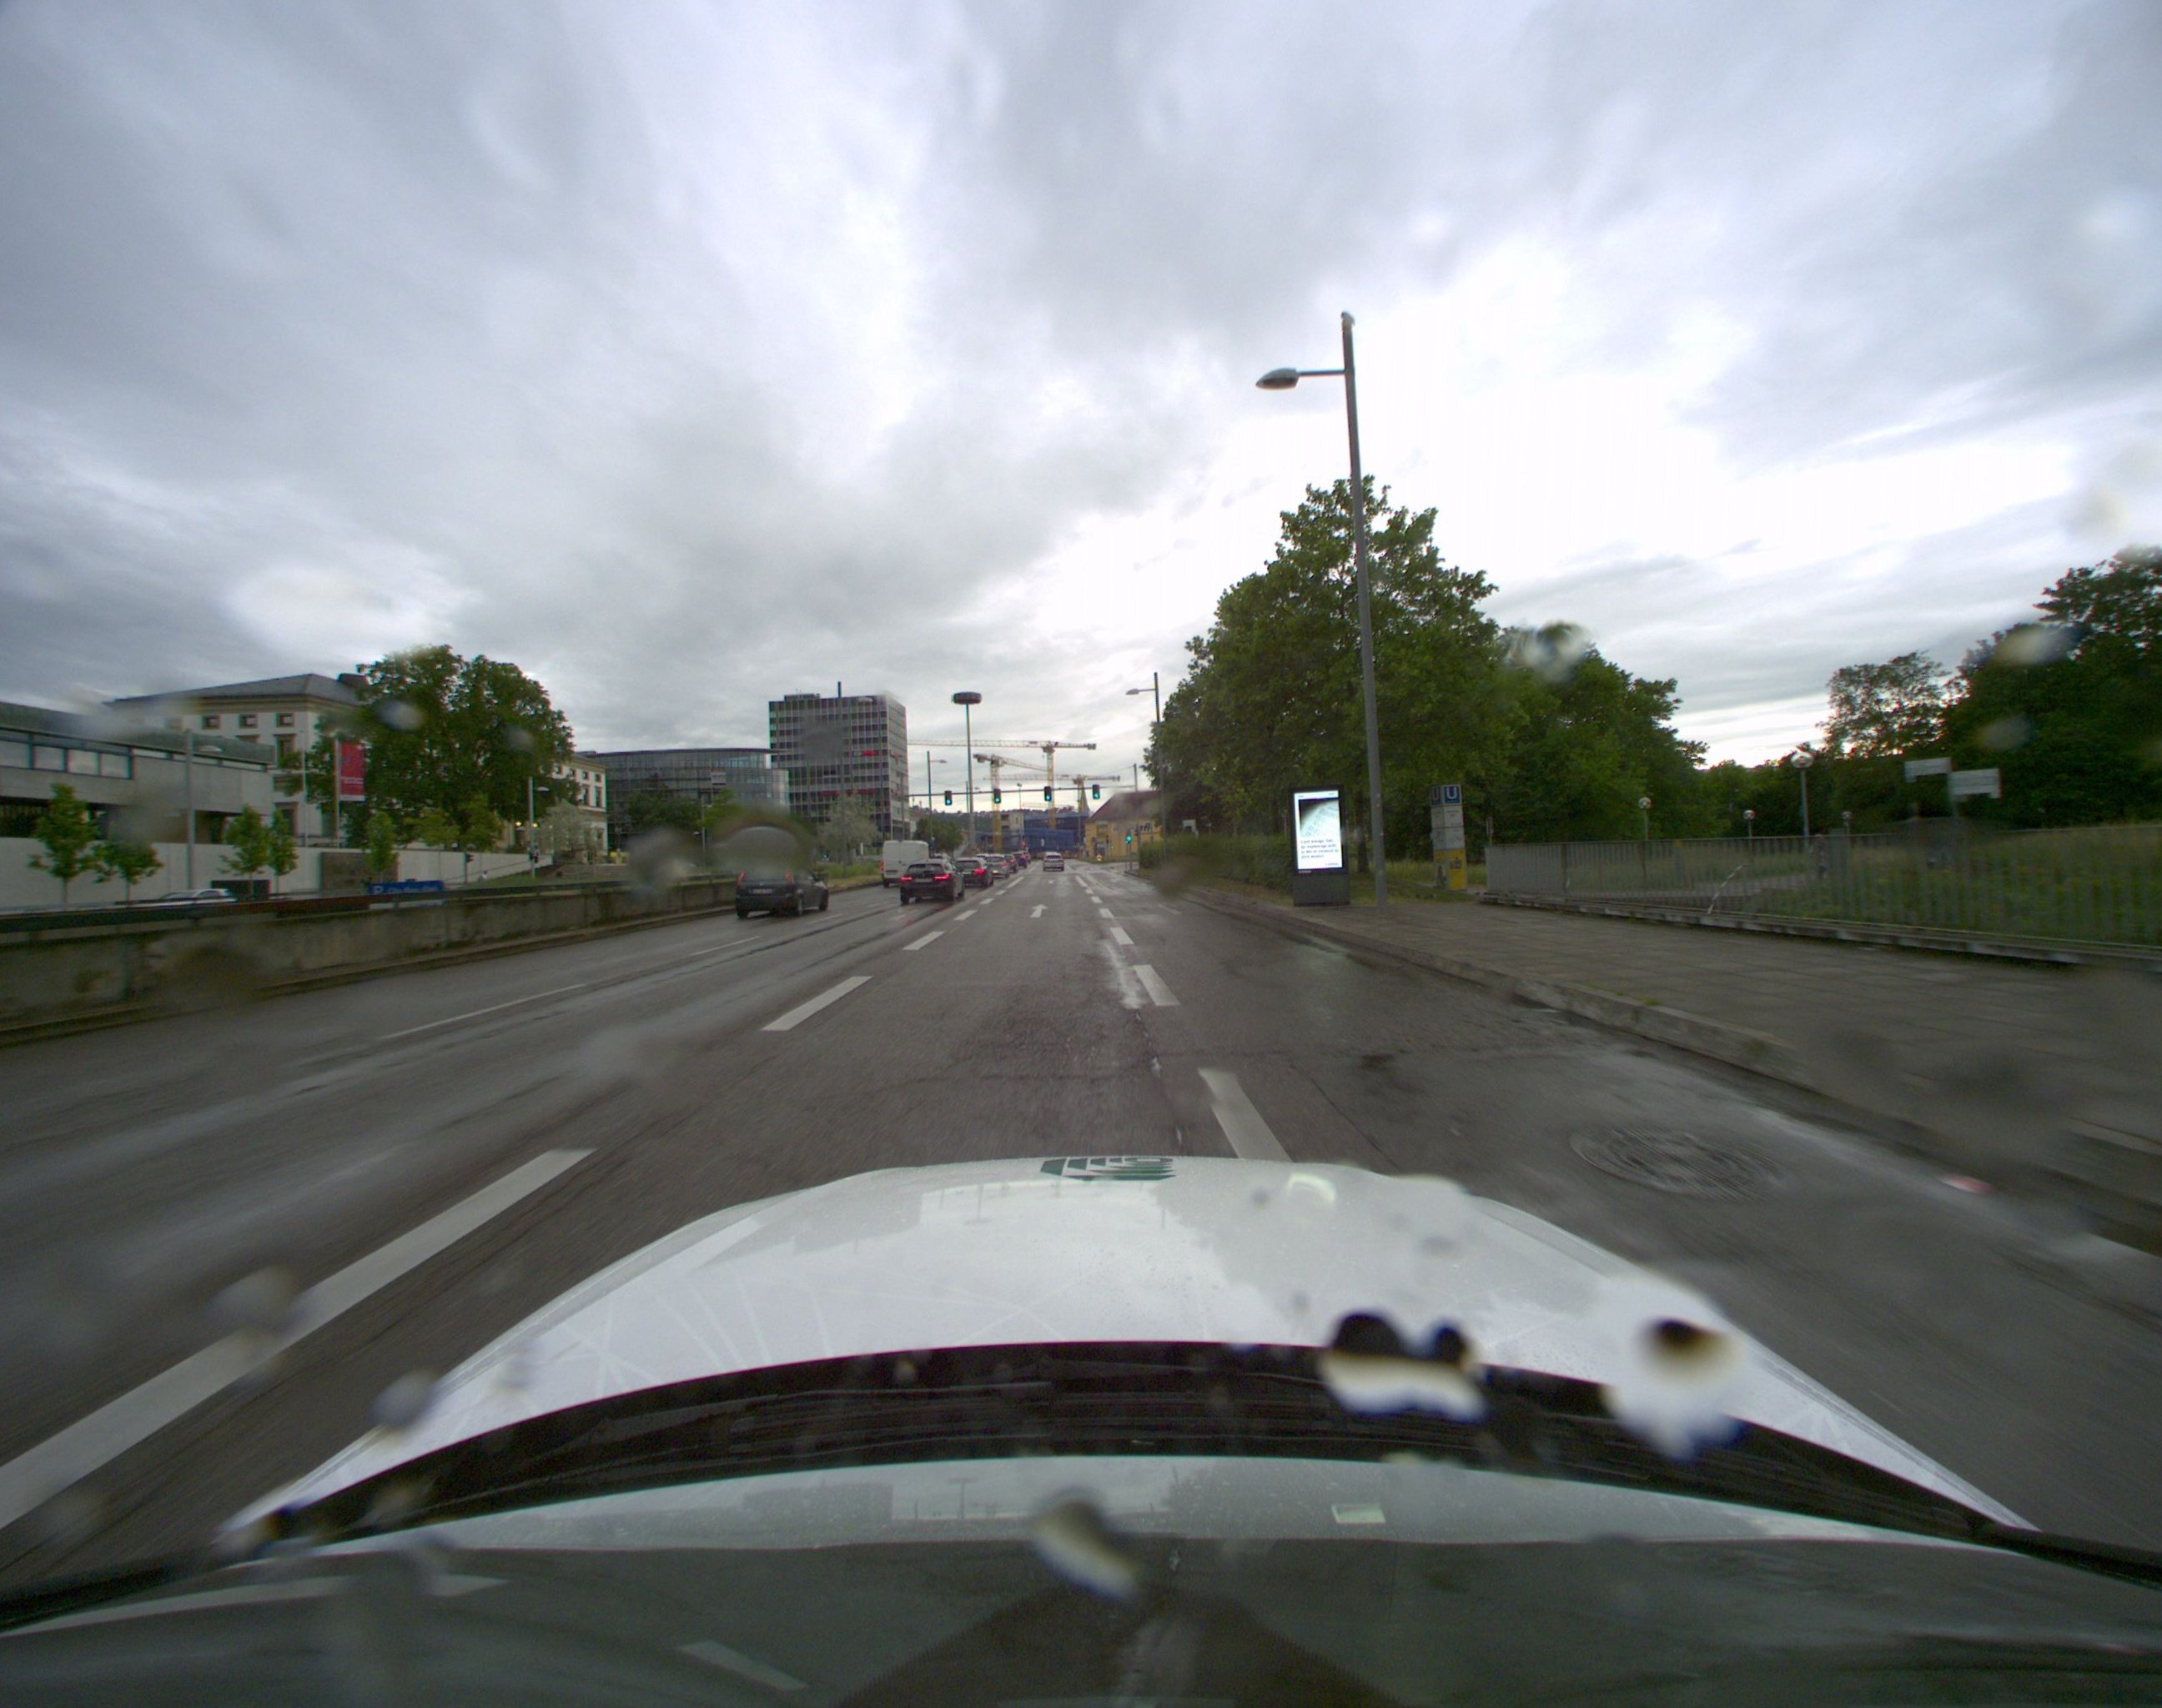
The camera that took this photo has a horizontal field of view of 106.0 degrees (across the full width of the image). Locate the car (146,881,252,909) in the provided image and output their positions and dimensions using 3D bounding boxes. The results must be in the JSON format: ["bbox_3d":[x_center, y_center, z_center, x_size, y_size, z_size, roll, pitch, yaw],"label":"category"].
[{"bbox_3d":[-39.209,1.807,36.292,1.436,1.114,3.018,-1,-1,-2],"label":"car"}]

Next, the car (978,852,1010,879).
[{"bbox_3d":[-5.552,0.751,52.236,1.877,1.653,3.452,-1,-1,-4],"label":"car"}]

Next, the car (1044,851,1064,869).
[{"bbox_3d":[-2.184,0.503,67.215,1.439,1.359,2.413,-1,-1,2],"label":"car"}]

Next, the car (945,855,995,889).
[{"bbox_3d":[-5.287,0.872,39.125,1.823,1.495,3.399,-1,-1,1],"label":"car"}]

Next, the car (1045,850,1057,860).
[{"bbox_3d":[-3.131,0.122,84.627,1.072,0.990,1.972,-1,-2,2],"label":"car"}]

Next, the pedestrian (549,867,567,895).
[{"bbox_3d":[-40.053,2.061,62.376,0.764,2.090,0.727,-1,4,3],"label":"pedestrian"}]

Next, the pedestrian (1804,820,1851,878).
[{"bbox_3d":[21.860,-0.135,23.854,0.730,1.642,0.822,0,-2,-36],"label":"pedestrian"}]

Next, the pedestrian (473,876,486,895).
[{"bbox_3d":[-45.854,2.365,62.081,0.488,1.423,0.635,-2,-2,16],"label":"pedestrian"}]

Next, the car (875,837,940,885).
[{"bbox_3d":[-8.949,0.382,42.499,2.285,2.314,5.003,-1,-1,-1],"label":"car"}]

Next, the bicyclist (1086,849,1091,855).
[{"bbox_3d":[1.573,-0.401,169.477,0.705,1.275,0.631,-1,-2,-17],"label":"bicyclist"}]

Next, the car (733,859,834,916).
[{"bbox_3d":[-8.250,0.904,22.912,1.538,1.415,3.897,-1,-1,-3],"label":"car"}]

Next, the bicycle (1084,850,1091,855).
[{"bbox_3d":[1.420,-0.253,169.702,0.882,1.010,1.981,-1,-1,-17],"label":"bicycle"}]

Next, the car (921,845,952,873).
[{"bbox_3d":[-9.078,0.326,51.327,1.461,1.706,3.137,-1,-1,-3],"label":"car"}]

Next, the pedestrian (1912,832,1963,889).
[{"bbox_3d":[25.963,0.204,24.692,0.766,1.692,0.651,-2,-2,9],"label":"pedestrian"}]

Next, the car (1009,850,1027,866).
[{"bbox_3d":[-6.035,0.393,78.030,1.489,1.369,3.031,-1,-1,-2],"label":"car"}]

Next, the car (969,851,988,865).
[{"bbox_3d":[-10.018,0.406,79.858,1.547,1.260,2.578,-1,-1,-2],"label":"car"}]

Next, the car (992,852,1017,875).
[{"bbox_3d":[-6.089,0.774,64.868,1.711,1.727,3.492,-1,-1,-1],"label":"car"}]

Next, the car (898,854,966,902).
[{"bbox_3d":[-5.165,0.792,28.712,1.749,1.471,4.219,-1,1,-2],"label":"car"}]

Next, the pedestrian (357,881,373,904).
[{"bbox_3d":[-44.515,2.373,50.630,0.465,1.383,0.577,-1,-1,2],"label":"pedestrian"}]
